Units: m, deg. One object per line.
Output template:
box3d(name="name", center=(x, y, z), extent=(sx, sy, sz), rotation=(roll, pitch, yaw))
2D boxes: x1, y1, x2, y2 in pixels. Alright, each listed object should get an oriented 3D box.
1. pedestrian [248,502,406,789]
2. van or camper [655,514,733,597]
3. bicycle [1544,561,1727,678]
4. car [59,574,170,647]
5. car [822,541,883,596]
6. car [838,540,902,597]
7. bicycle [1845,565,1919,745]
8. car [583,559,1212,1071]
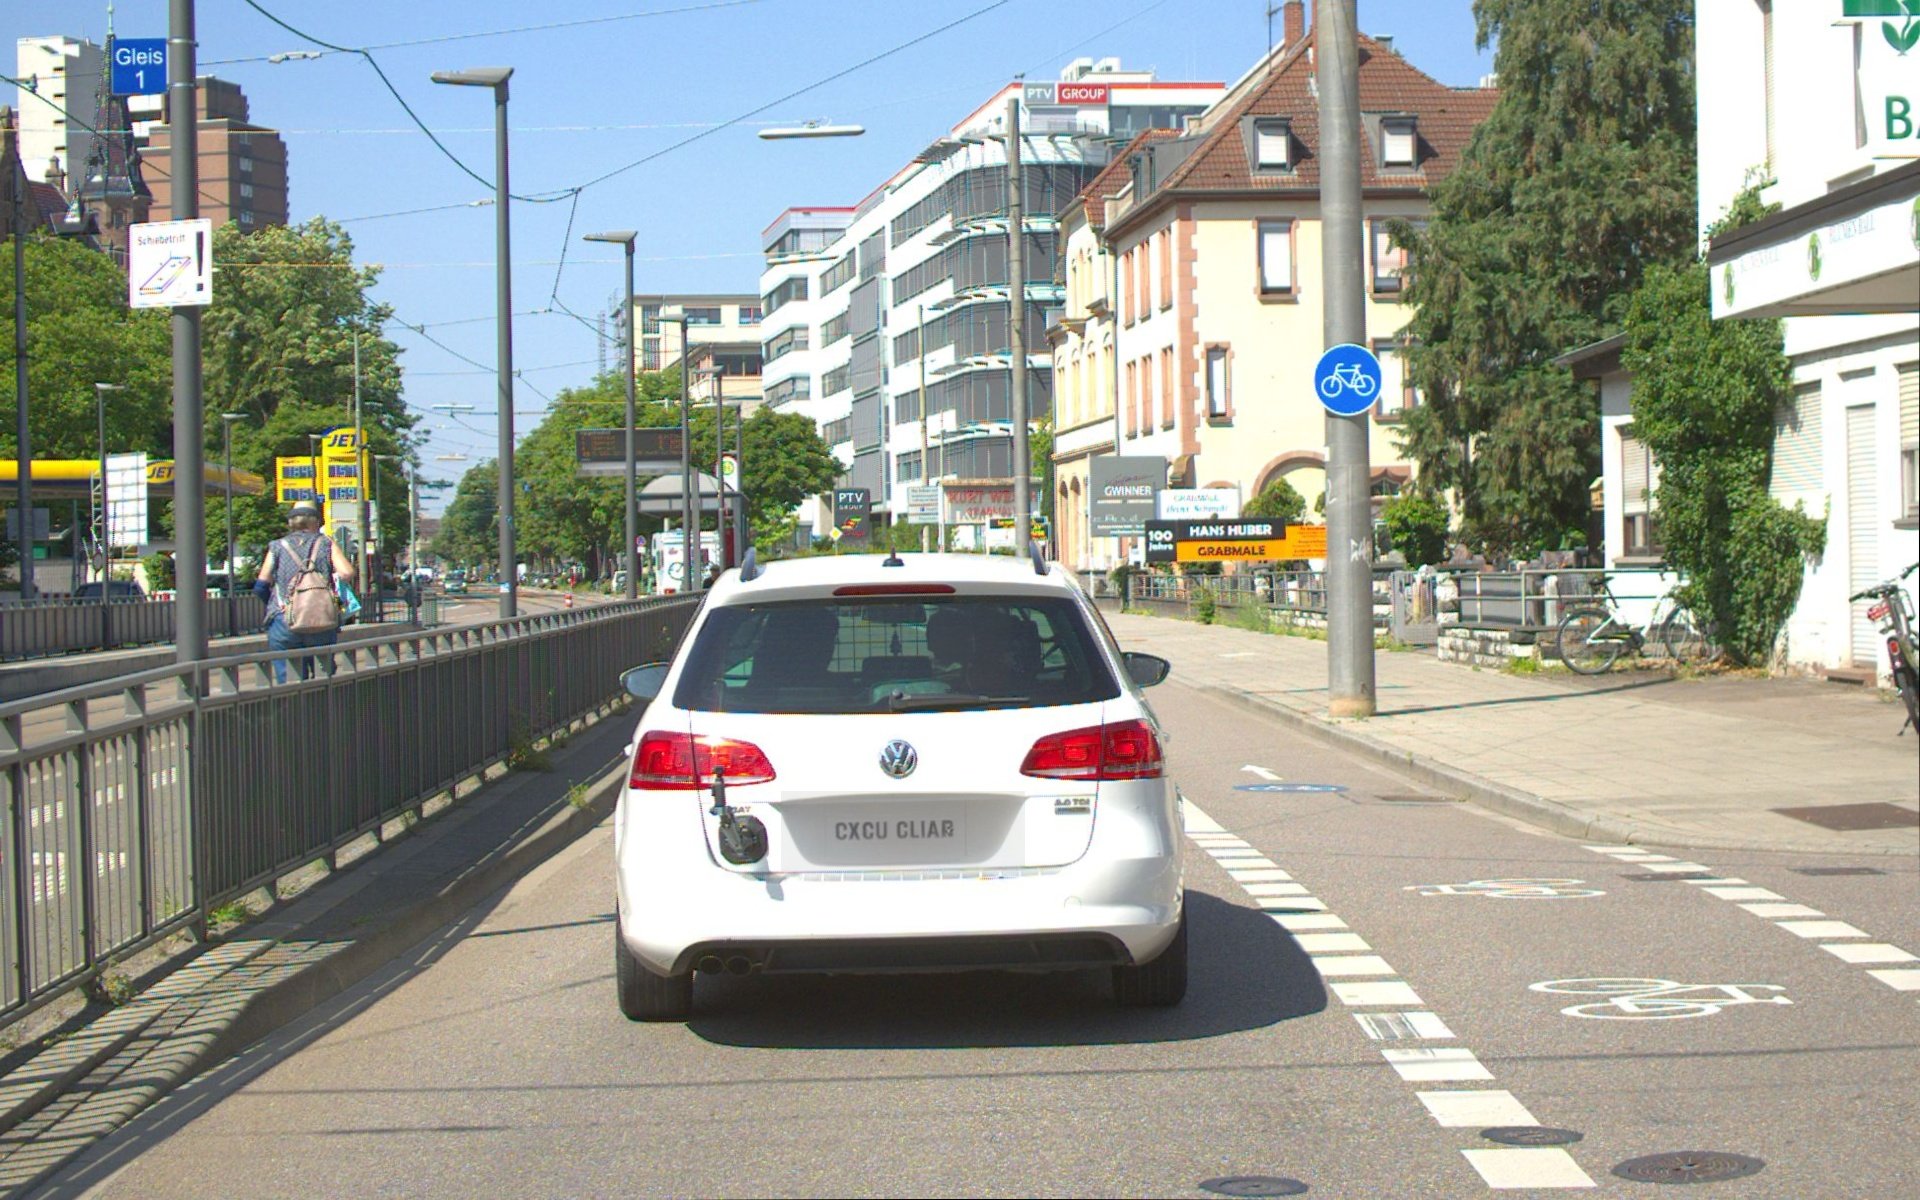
box3d(name="pedestrian", center=(-4.085, 0.282, 22.235), extent=(0.826, 1.803, 0.833), rotation=(-1, 1, -1))
box3d(name="van or camper", center=(-10.605, -1.785, 137.019), extent=(2.943, 3.169, 6.614), rotation=(-1, 1, -5))
box3d(name="bicycle", center=(6.796, 0.190, 34.609), extent=(1.712, 1.126, 0.525), rotation=(-1, 1, 1))
box3d(name="car", center=(-17.922, 0.205, 73.001), extent=(1.572, 1.454, 3.738), rotation=(-2, 1, -3))
box3d(name="car", center=(-4.087, -1.201, 130.561), extent=(1.993, 2.007, 4.001), rotation=(-1, 1, -6))
box3d(name="car", center=(-3.282, -1.158, 125.152), extent=(1.993, 2.007, 4.001), rotation=(-1, 1, -6))
box3d(name="bicycle", center=(6.447, 0.344, 23.299), extent=(0.726, 1.135, 2.194), rotation=(-1, 1, 11))
box3d(name="car", center=(-0.210, 0.583, 11.613), extent=(1.752, 1.413, 3.853), rotation=(1, 1, -1))
